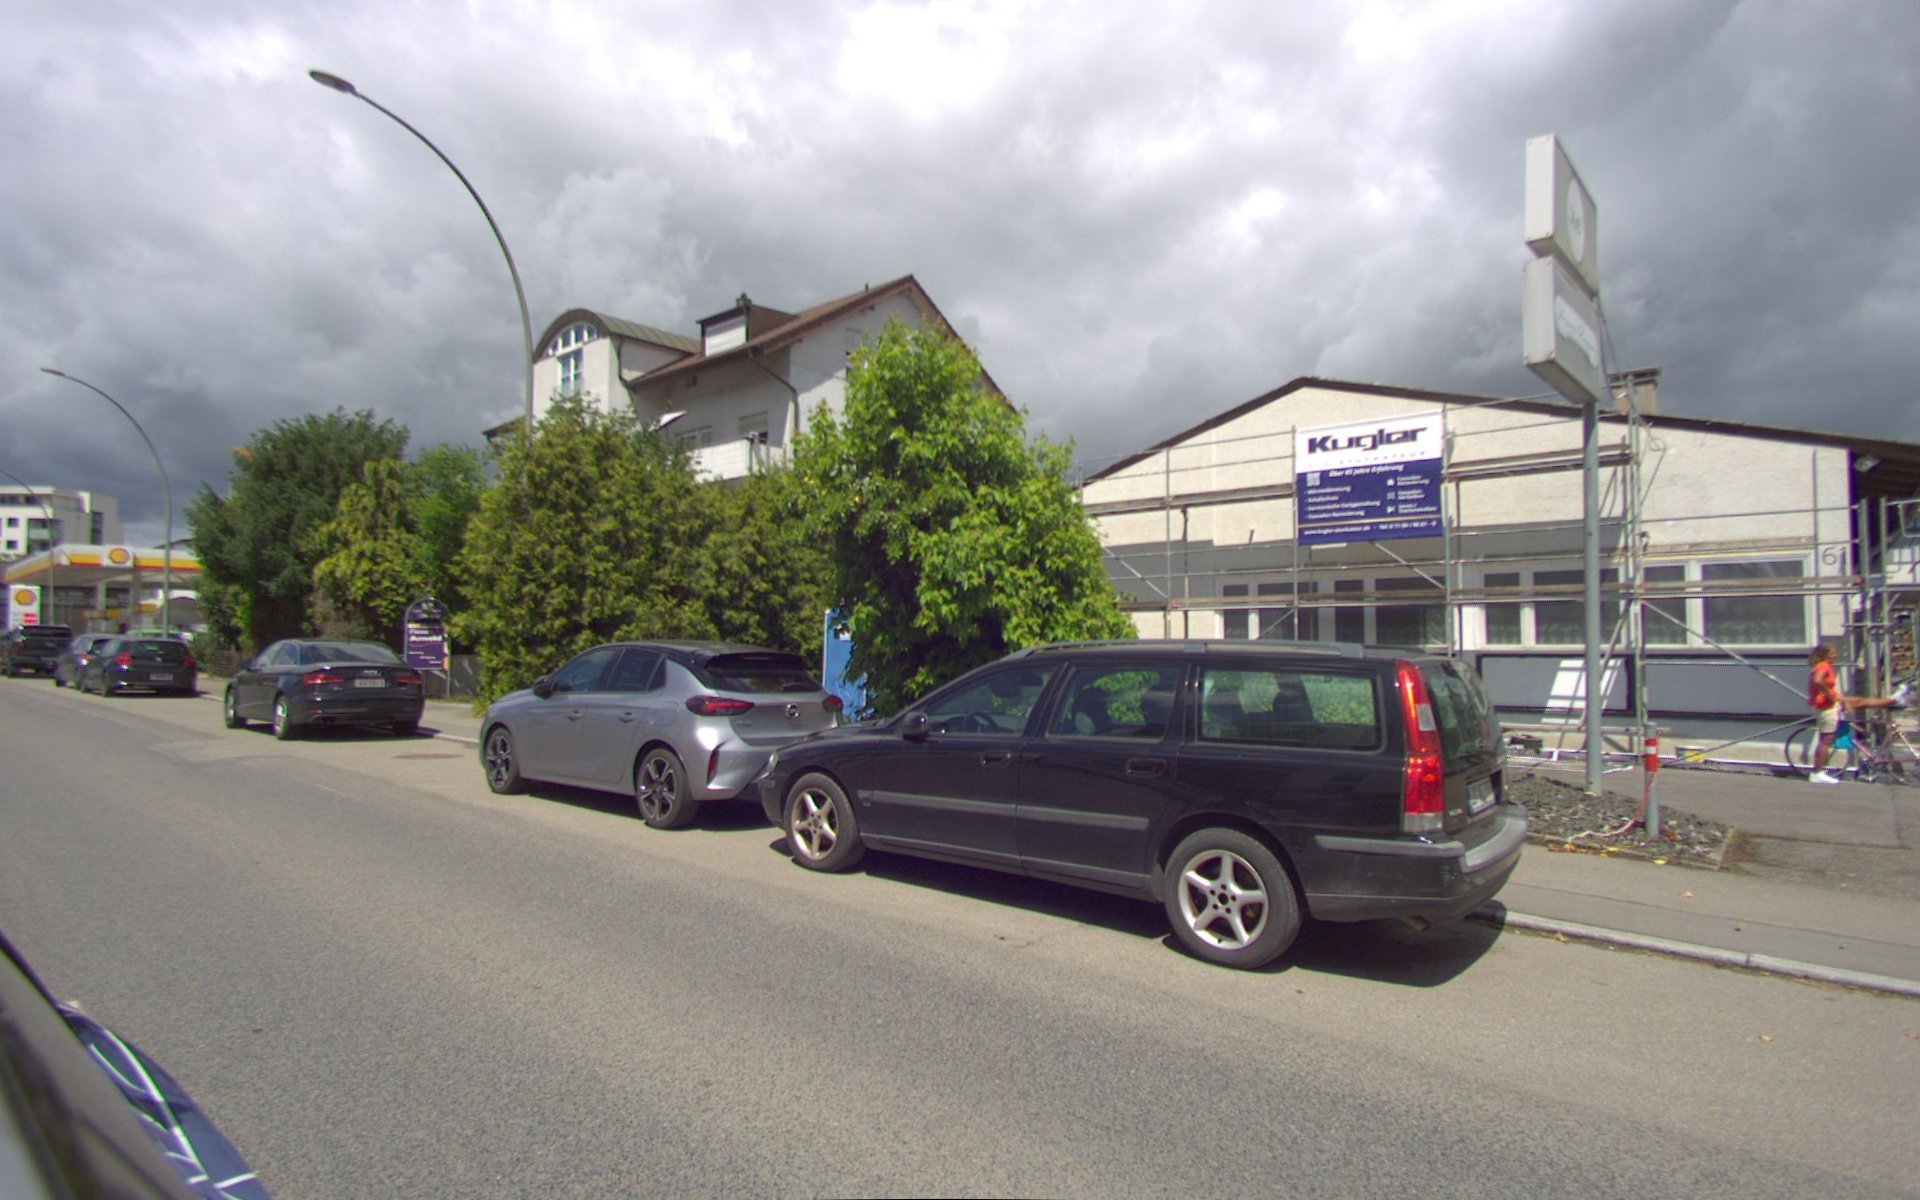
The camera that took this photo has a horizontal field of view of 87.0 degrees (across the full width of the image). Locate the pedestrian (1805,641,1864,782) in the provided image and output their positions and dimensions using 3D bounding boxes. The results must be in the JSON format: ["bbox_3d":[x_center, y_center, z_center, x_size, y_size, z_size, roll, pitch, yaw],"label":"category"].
[{"bbox_3d":[10.651,1.338,12.337,0.497,1.660,0.518,-2,-5,41],"label":"pedestrian"}]

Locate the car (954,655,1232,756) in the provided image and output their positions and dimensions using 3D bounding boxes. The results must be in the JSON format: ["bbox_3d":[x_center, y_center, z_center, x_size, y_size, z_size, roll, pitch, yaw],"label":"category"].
[{"bbox_3d":[2.028,1.643,16.012,3.936,1.398,1.896,2,-4,-9],"label":"car"}]

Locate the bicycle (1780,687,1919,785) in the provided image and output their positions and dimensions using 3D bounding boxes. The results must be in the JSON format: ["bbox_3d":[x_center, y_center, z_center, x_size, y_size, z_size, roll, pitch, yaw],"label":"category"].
[{"bbox_3d":[11.486,1.669,12.411,2.183,1.094,0.465,-2,-1,41],"label":"bicycle"}]

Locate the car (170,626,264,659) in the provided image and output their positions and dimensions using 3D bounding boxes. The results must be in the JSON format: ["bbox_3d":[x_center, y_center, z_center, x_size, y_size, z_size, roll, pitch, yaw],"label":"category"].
[{"bbox_3d":[-43.642,2.469,59.583,1.947,1.866,4.983,0,-2,-1],"label":"car"}]

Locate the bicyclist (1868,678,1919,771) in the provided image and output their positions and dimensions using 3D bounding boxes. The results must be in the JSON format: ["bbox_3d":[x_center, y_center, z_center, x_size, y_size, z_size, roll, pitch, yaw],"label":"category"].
[{"bbox_3d":[11.533,1.516,12.362,0.609,1.069,0.474,-2,-1,41],"label":"bicyclist"}]

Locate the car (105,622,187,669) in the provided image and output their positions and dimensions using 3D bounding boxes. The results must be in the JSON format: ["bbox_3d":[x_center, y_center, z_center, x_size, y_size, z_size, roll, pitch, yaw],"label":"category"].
[{"bbox_3d":[-33.176,1.826,41.207,4.335,1.799,1.774,-2,-2,40],"label":"car"}]

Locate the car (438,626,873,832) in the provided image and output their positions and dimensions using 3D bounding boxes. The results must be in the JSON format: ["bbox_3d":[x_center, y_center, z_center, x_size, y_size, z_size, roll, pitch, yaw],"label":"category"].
[{"bbox_3d":[-2.887,1.012,9.153,4.195,1.443,1.702,-2,-5,40],"label":"car"}]

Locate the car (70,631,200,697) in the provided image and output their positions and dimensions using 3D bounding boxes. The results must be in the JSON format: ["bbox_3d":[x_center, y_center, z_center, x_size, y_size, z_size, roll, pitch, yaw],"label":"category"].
[{"bbox_3d":[-19.868,1.521,24.309,4.336,1.446,1.645,-2,-5,41],"label":"car"}]

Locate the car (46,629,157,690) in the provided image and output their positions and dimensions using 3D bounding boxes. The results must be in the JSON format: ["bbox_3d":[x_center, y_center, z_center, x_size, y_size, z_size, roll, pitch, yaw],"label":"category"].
[{"bbox_3d":[-23.424,1.612,27.577,3.942,1.523,1.645,-2,-6,41],"label":"car"}]

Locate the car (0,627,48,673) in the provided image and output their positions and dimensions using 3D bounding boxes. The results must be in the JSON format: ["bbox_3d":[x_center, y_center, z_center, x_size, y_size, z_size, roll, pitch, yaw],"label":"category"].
[{"bbox_3d":[-36.703,1.934,39.043,4.524,1.693,1.645,-2,-5,41],"label":"car"}]

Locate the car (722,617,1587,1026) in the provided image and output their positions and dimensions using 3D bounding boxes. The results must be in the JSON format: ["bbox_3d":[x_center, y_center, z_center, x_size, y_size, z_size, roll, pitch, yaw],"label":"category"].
[{"bbox_3d":[0.775,0.916,5.929,4.731,1.504,1.702,-2,-4,40],"label":"car"}]

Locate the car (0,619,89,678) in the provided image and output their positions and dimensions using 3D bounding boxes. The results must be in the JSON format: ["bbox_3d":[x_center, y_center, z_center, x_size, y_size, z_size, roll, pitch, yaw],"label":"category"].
[{"bbox_3d":[-31.868,1.684,34.905,5.426,1.835,1.891,-2,-7,41],"label":"car"}]

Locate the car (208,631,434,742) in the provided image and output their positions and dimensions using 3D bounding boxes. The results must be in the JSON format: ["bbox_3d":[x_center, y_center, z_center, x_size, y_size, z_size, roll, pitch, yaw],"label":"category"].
[{"bbox_3d":[-9.671,1.221,15.173,4.336,1.425,1.645,-2,-4,41],"label":"car"}]
